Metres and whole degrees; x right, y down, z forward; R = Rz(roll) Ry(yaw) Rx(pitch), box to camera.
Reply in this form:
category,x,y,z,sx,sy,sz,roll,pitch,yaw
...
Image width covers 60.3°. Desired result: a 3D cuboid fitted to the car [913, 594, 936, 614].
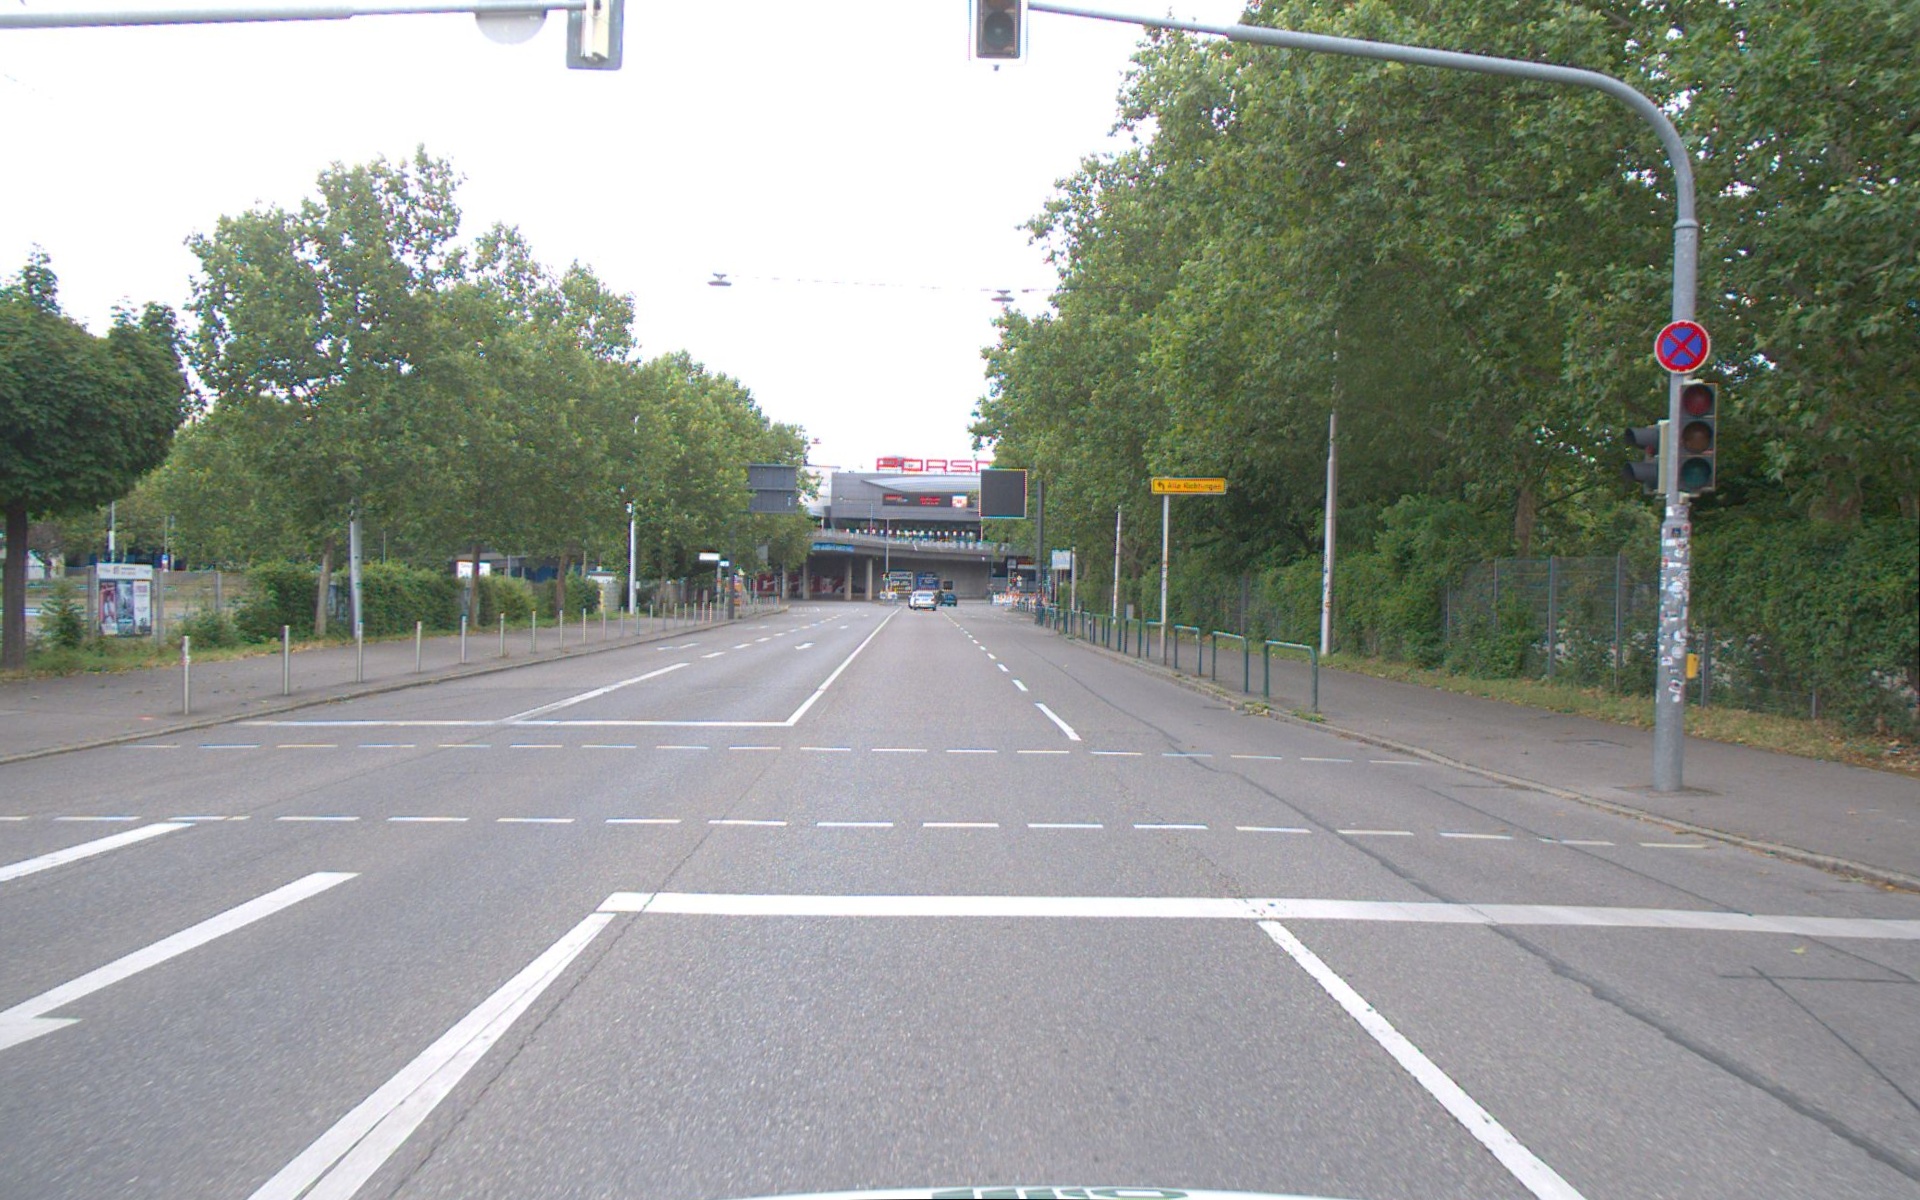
category,x,y,z,sx,sy,sz,roll,pitch,yaw
car,-2.819,0.292,132.944,1.742,1.485,3.821,3,0,0

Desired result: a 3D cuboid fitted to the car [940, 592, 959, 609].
category,x,y,z,sx,sy,sz,roll,pitch,yaw
car,-1.114,0.075,173.187,1.966,1.728,4.069,2,0,0
